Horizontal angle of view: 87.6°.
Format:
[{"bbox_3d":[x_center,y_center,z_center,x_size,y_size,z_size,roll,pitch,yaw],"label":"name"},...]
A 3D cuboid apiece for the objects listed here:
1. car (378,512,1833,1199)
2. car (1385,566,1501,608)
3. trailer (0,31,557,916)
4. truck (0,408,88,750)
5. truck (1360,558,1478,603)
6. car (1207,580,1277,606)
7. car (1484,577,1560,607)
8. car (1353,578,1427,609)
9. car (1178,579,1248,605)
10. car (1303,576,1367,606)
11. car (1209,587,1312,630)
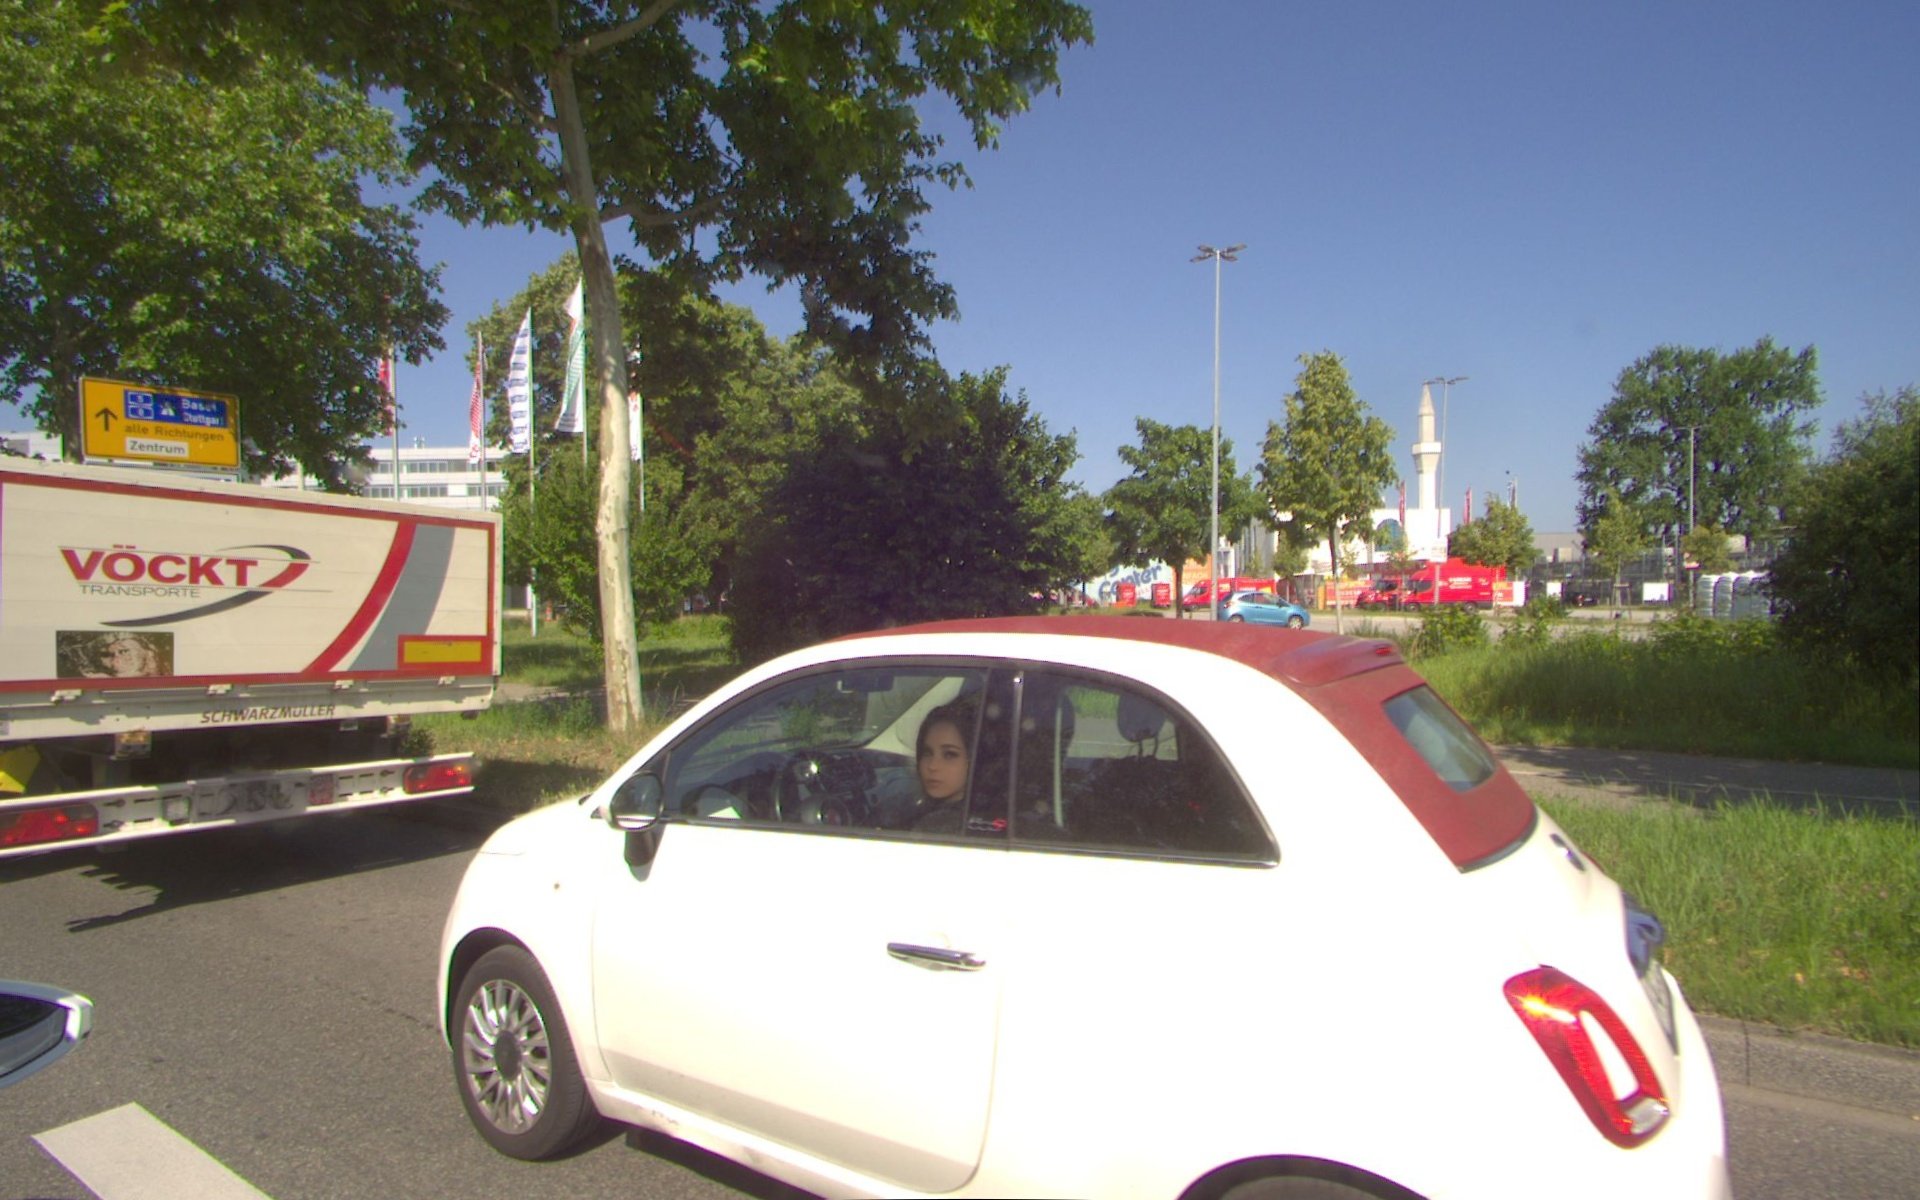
[{"bbox_3d":[0.056,0.671,2.851,3.472,1.455,1.657,-1,-1,35],"label":"car"},{"bbox_3d":[28.679,-0.766,59.551,5.823,2.371,2.115,0,-1,2],"label":"car"},{"bbox_3d":[-8.481,-0.412,8.635,12.070,3.789,3.009,-1,-1,34],"label":"trailer"},{"bbox_3d":[-14.172,-0.180,12.454,7.370,3.806,3.066,-1,-1,32],"label":"truck"},{"bbox_3d":[34.656,-1.446,75.677,8.067,3.290,2.000,0,-1,-2],"label":"truck"},{"bbox_3d":[21.399,-0.530,76.008,4.824,1.906,1.770,0,-1,2],"label":"car"},{"bbox_3d":[40.106,-0.549,71.534,4.304,2.040,2.000,0,-1,-2],"label":"car"},{"bbox_3d":[27.135,-0.375,63.343,3.924,1.884,1.999,-1,-1,11],"label":"car"},{"bbox_3d":[20.591,-0.628,81.675,5.188,2.040,2.000,0,-1,-4],"label":"car"},{"bbox_3d":[27.302,-0.628,72.908,3.922,2.040,2.000,0,-1,2],"label":"car"},{"bbox_3d":[11.428,0.330,38.203,3.387,1.591,1.745,0,-1,-2],"label":"car"}]
